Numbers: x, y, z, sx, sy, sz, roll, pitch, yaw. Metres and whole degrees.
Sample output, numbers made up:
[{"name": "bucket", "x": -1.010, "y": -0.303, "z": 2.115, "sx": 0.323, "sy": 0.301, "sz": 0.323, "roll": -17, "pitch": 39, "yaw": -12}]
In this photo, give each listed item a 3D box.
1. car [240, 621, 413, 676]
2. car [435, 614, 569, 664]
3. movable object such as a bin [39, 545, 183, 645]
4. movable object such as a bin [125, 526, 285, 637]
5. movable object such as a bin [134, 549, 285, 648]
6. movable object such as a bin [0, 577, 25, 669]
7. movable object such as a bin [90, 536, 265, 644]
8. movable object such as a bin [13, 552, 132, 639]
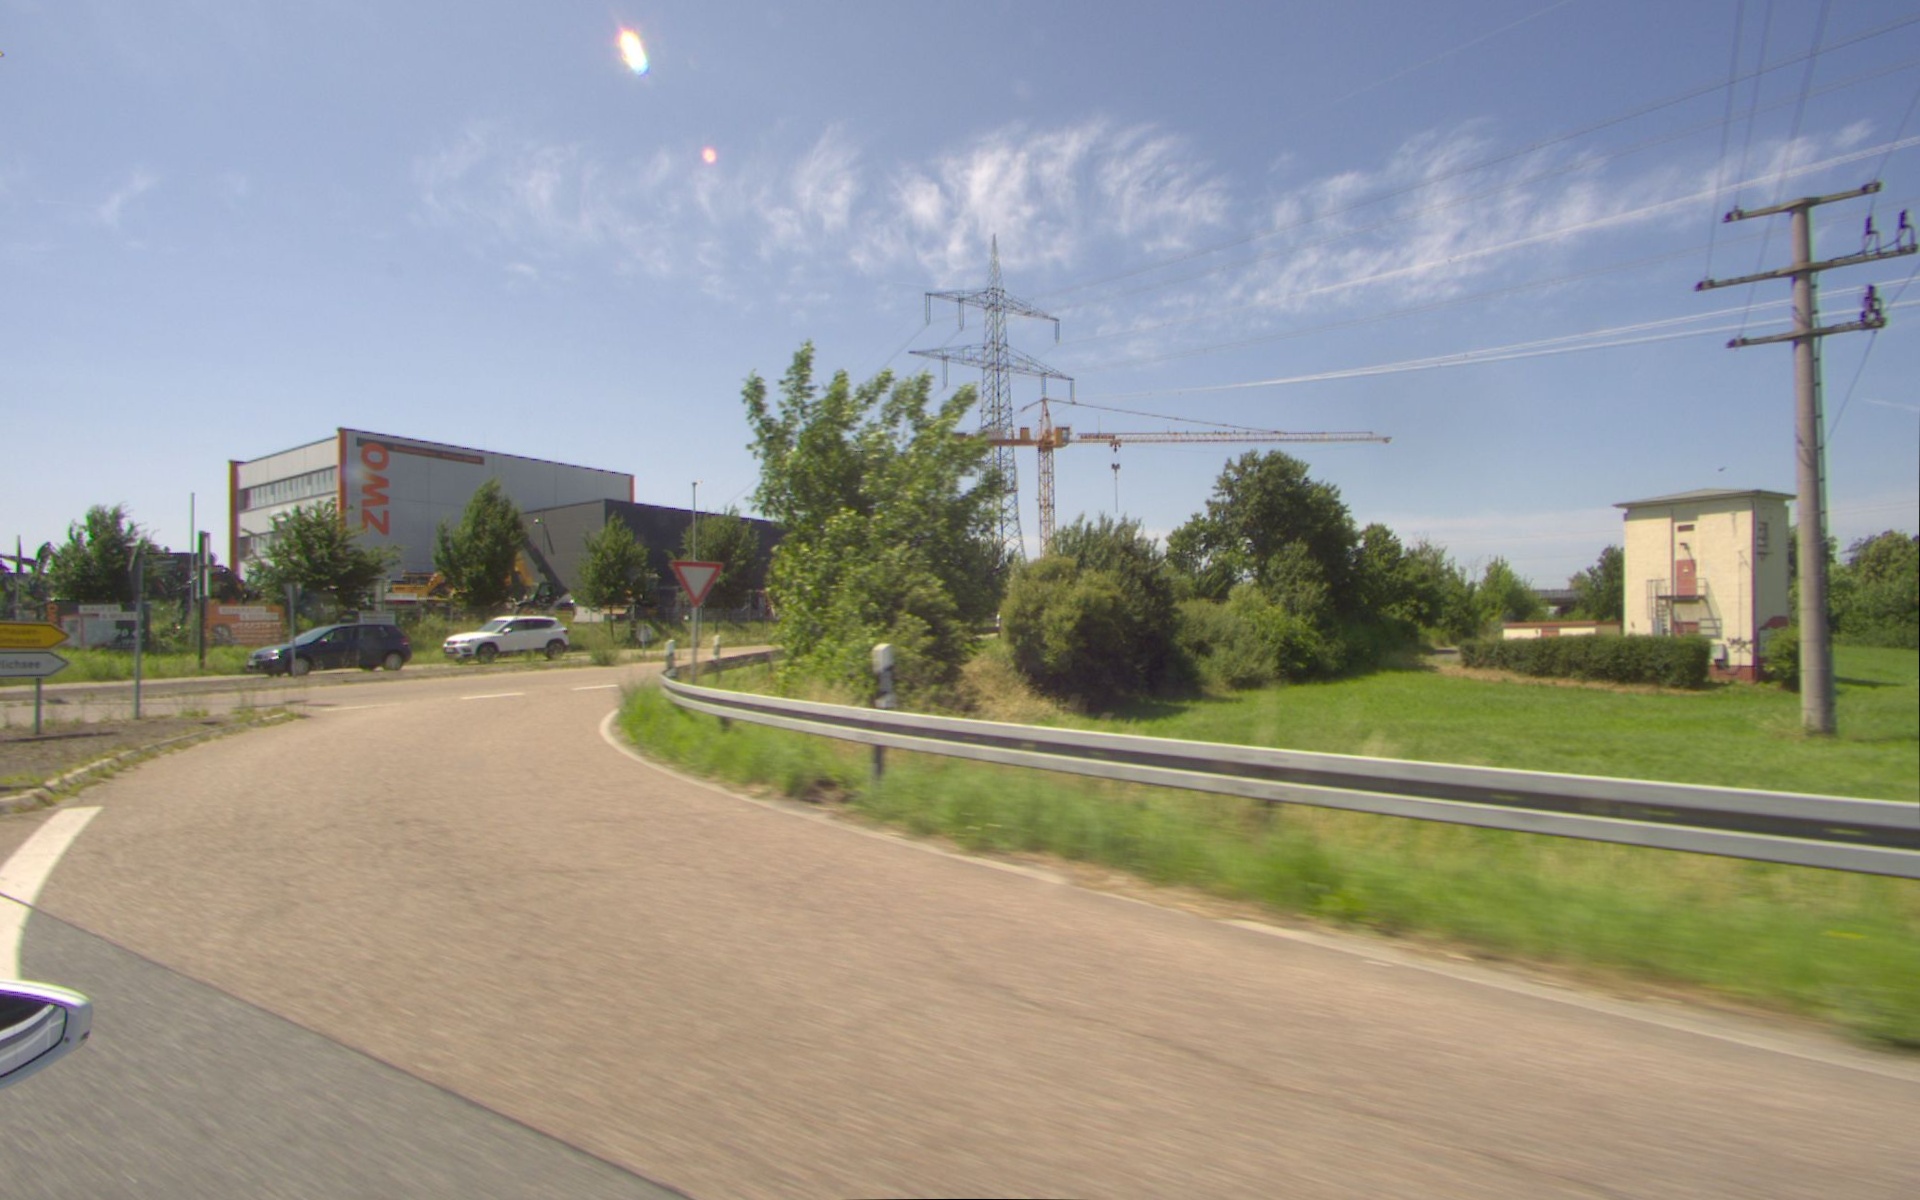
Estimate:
[{"name": "car", "x": -18.515, "y": 1.365, "z": 29.438, "sx": 1.612, "sy": 1.459, "sz": 3.989, "roll": -1, "pitch": -1, "yaw": 34}, {"name": "car", "x": -16.270, "y": 1.344, "z": 35.740, "sx": 1.734, "sy": 1.643, "sz": 4.074, "roll": 1, "pitch": 0, "yaw": 34}, {"name": "movable object such as a bin", "x": -49.606, "y": -0.160, "z": 58.643, "sx": 3.179, "sy": 5.332, "sz": 5.705, "roll": -3, "pitch": -5, "yaw": 34}, {"name": "movable object such as a bin", "x": -38.933, "y": -0.792, "z": 51.819, "sx": 3.068, "sy": 5.166, "sz": 5.907, "roll": -3, "pitch": -5, "yaw": 34}, {"name": "movable object such as a bin", "x": -35.676, "y": 0.068, "z": 47.736, "sx": 2.797, "sy": 4.326, "sz": 5.075, "roll": -3, "pitch": -5, "yaw": 34}, {"name": "movable object such as a bin", "x": -37.006, "y": 0.904, "z": 36.988, "sx": 5.030, "sy": 3.288, "sz": 2.320, "roll": -3, "pitch": -4, "yaw": 32}, {"name": "movable object such as a bin", "x": -42.065, "y": -0.328, "z": 54.044, "sx": 3.756, "sy": 5.208, "sz": 6.578, "roll": -3, "pitch": -5, "yaw": 34}, {"name": "movable object such as a bin", "x": -56.705, "y": -0.197, "z": 64.076, "sx": 2.742, "sy": 5.115, "sz": 5.075, "roll": -3, "pitch": -4, "yaw": 34}]
